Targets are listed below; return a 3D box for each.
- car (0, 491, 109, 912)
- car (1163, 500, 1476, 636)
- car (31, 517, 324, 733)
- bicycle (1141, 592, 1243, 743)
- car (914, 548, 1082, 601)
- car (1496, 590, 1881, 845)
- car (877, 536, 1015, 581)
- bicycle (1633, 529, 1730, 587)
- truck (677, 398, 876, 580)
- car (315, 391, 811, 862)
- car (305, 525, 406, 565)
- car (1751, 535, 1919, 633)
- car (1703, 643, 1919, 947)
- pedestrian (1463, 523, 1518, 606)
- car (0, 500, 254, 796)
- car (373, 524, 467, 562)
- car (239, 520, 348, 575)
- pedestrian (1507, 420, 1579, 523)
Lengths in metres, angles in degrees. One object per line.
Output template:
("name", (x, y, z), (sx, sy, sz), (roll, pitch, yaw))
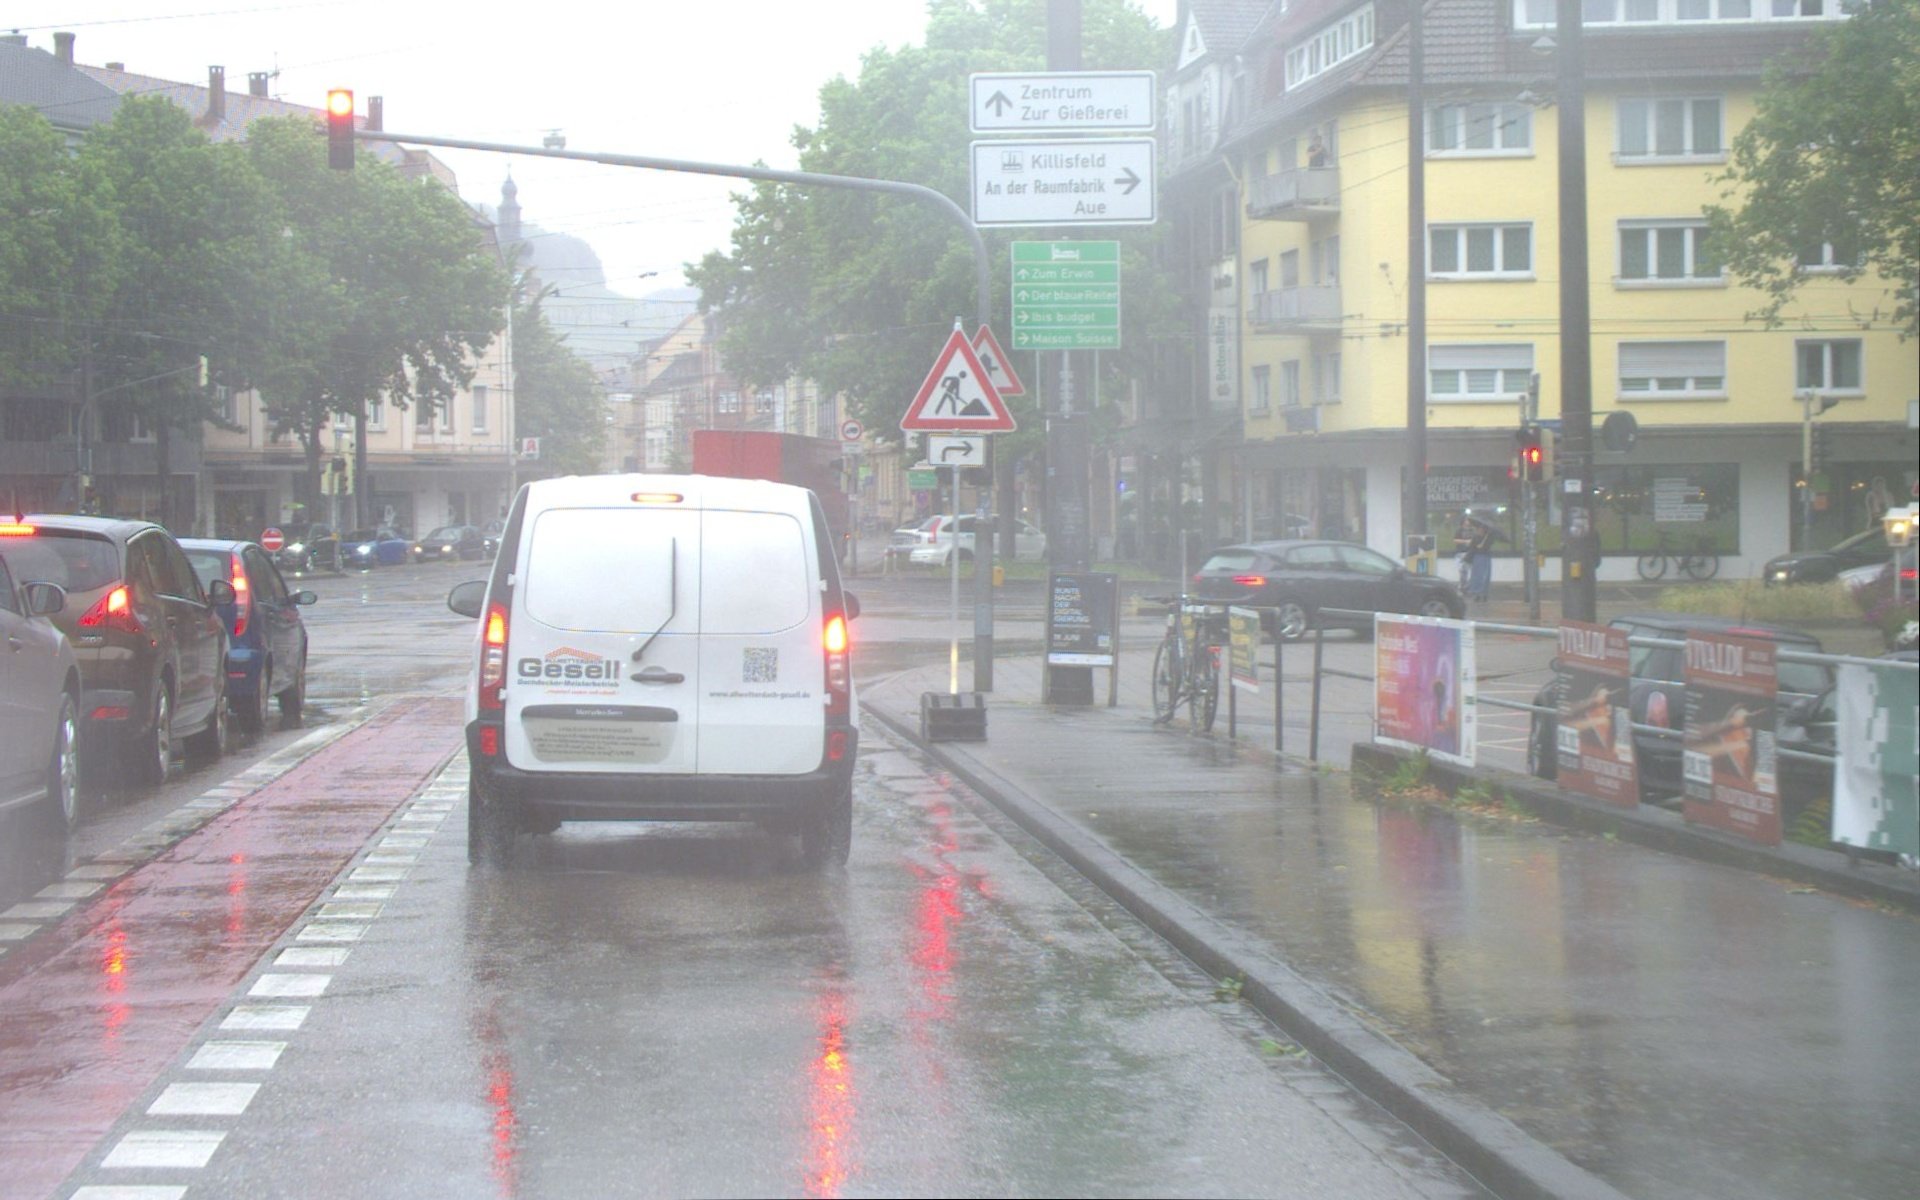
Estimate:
("car", (-5.088, 0.399, 15.001), (2.024, 1.764, 4.463), (1, 1, -6))
("car", (5.165, -0.462, 49.564), (3.986, 1.859, 2.001), (1, 1, -18))
("car", (-6.143, 0.155, 27.346), (1.727, 1.573, 3.821), (1, 1, -5))
("bicycle", (1.862, 0.524, 27.806), (0.514, 1.103, 2.017), (3, 1, -3))
("car", (0.992, -0.662, 90.173), (4.165, 1.334, 1.521), (0, 2, -12))
("car", (5.012, 0.760, 24.108), (1.705, 1.437, 3.525), (4, 2, -3))
("car", (-0.393, -1.119, 91.920), (3.441, 1.126, 1.472), (1, 1, -12))
("bicycle", (16.231, -0.949, 77.349), (2.102, 1.257, 0.532), (1, 2, 10))
("truck", (-5.353, -3.234, 104.306), (3.470, 5.070, 15.303), (1, 1, 6))
("car", (-1.903, 0.090, 17.223), (2.100, 2.005, 4.964), (0, 1, -5))
("car", (-20.131, -1.847, 114.691), (1.952, 1.235, 3.998), (1, 2, 12))
("car", (16.632, -0.257, 60.835), (4.939, 1.637, 1.999), (1, -2, 8))
("car", (5.467, 1.003, 18.640), (1.702, 1.395, 3.973), (1, 1, -5))
("pedestrian", (9.957, -0.666, 64.551), (0.814, 1.528, 0.622), (0, 1, -43))
("car", (-5.609, 0.230, 21.492), (1.834, 1.662, 4.173), (1, 1, -5))
("car", (-19.050, -2.023, 121.369), (1.952, 1.235, 3.998), (1, 2, 12))
("car", (-21.073, -1.677, 108.802), (1.952, 1.602, 3.998), (1, 2, 12))
("pedestrian", (9.633, -2.125, 56.830), (0.905, 1.663, 1.019), (1, 1, 25))
